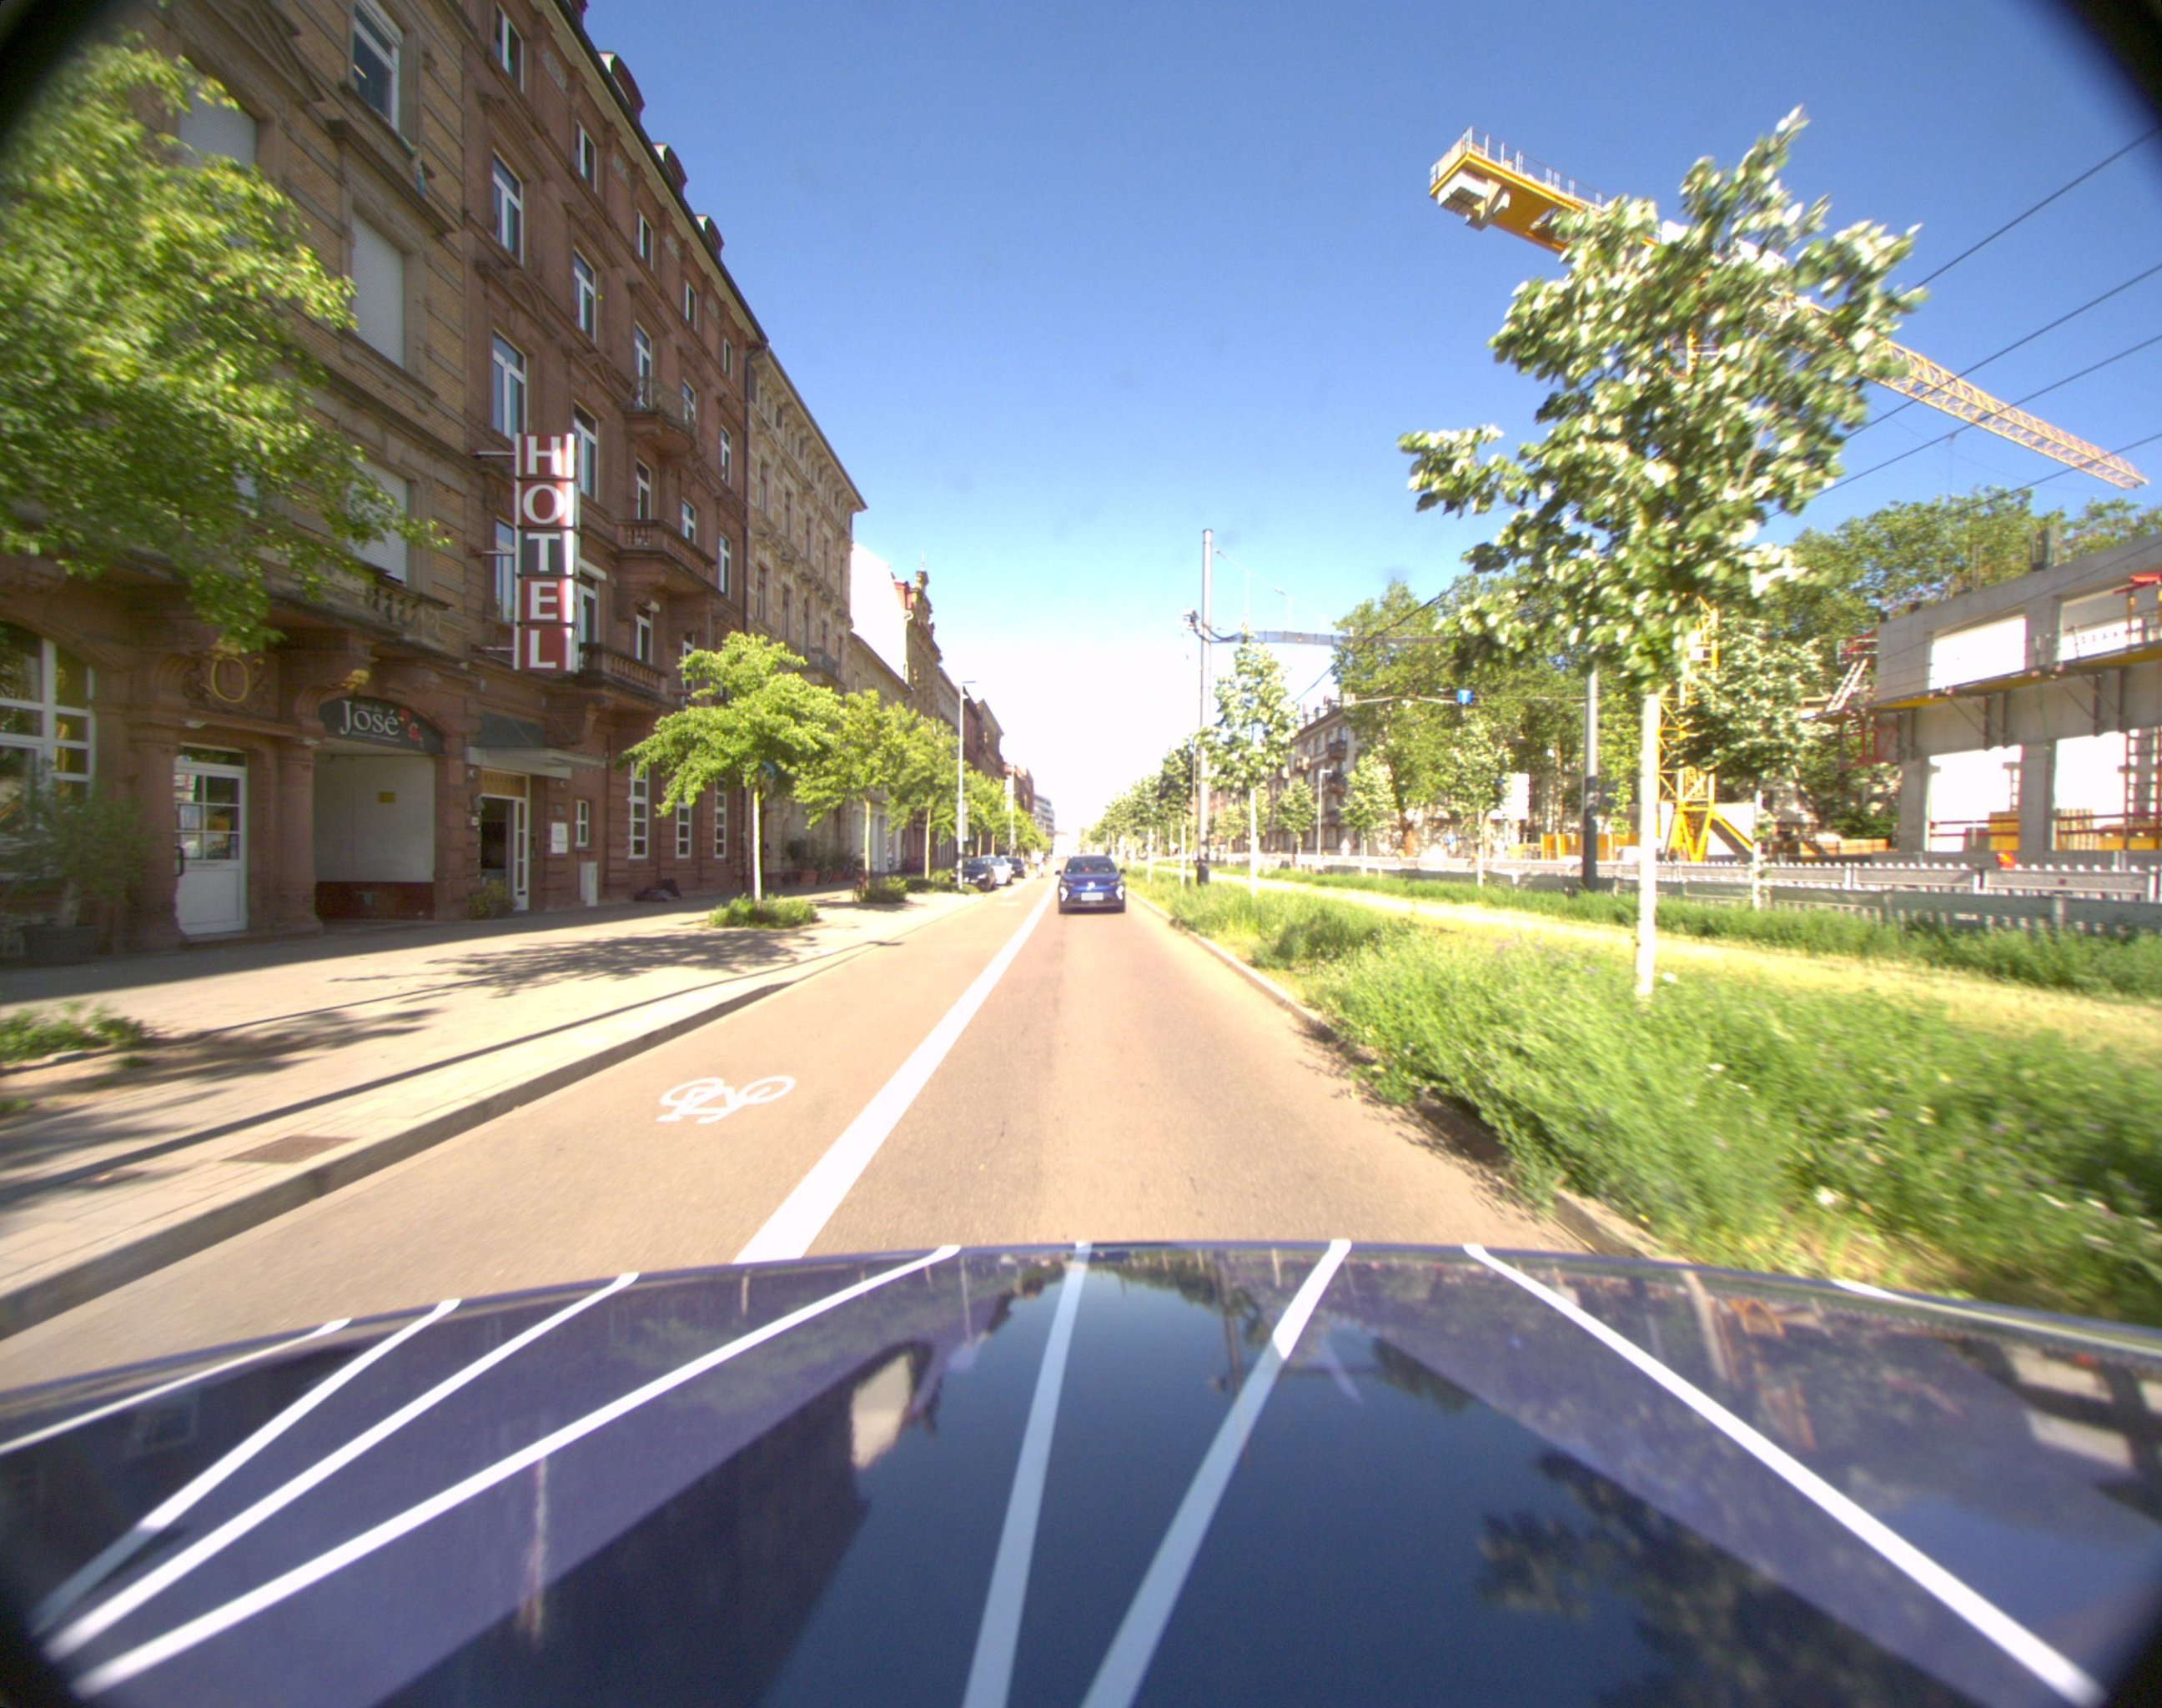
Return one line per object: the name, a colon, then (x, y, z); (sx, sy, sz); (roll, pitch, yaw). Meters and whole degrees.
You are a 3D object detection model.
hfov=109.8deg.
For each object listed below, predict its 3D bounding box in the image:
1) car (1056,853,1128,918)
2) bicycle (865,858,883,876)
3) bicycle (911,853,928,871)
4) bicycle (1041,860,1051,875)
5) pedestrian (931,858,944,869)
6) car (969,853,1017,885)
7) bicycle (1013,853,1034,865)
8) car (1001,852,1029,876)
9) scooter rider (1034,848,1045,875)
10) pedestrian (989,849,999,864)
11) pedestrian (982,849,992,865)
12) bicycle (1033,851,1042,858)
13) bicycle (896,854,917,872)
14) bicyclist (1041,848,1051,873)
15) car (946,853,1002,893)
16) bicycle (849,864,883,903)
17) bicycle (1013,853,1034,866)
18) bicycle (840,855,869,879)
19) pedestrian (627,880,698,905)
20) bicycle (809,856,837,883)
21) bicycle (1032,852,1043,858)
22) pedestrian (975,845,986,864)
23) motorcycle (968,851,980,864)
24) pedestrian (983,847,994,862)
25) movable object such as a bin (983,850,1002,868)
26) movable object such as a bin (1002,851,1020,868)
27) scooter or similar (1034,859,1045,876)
car: (0.254, 0.791, 21.622); (1.758, 1.576, 4.419); (-2, 0, -1)
bicycle: (-11.251, 0.727, 41.410); (0.448, 0.939, 2.013); (0, -1, -1)
bicycle: (-10.852, 0.528, 51.063); (0.750, 1.194, 1.800); (1, 1, -1)
bicycle: (-2.607, 0.999, 56.338); (0.725, 1.000, 1.951); (-1, 0, -3)
pedestrian: (-11.141, 0.703, 59.026); (0.873, 0.814, 0.979); (-1, 1, -14)
car: (-4.619, 0.769, 40.682); (1.956, 1.486, 5.104); (2, 1, 0)
bicycle: (-5.804, 0.548, 76.909); (2.050, 1.100, 0.610); (3, 1, -6)
car: (-4.601, 0.700, 53.389); (1.771, 1.468, 4.446); (2, 1, -3)
scooter rider: (-2.869, 0.486, 52.803); (0.663, 1.856, 0.897); (-1, 1, 0)
pedestrian: (-9.178, 0.275, 80.347); (0.953, 1.557, 1.080); (1, 0, -1)
pedestrian: (-9.855, 0.348, 79.758); (0.974, 1.629, 0.992); (1, 0, -1)
bicycle: (-8.038, 0.129, 140.099); (1.678, 1.056, 1.133); (4, 1, -3)
bicycle: (-11.003, 0.552, 47.997); (0.878, 1.098, 2.181); (3, 0, -3)
bicyclist: (-2.627, 0.461, 56.503); (0.725, 1.807, 1.090); (-1, 1, -3)
car: (-4.707, 0.798, 33.946); (1.889, 1.560, 4.219); (2, 1, -1)
bicycle: (-6.790, 0.908, 24.066); (0.652, 1.113, 2.170); (1, 1, -6)
bicycle: (-5.794, 0.558, 76.501); (1.981, 1.117, 0.481); (4, 0, -6)
bicycle: (-10.980, 0.607, 36.863); (0.723, 1.084, 2.198); (1, 1, 0)
pedestrian: (-10.988, 0.996, 20.044); (0.775, 0.550, 2.007); (1, 0, -1)
bicycle: (-11.014, 0.647, 32.519); (0.482, 1.084, 2.056); (1, 1, 0)
bicycle: (-7.968, 0.163, 138.955); (1.903, 1.024, 1.029); (2, 1, -4)
pedestrian: (-10.307, 0.054, 78.164); (0.892, 1.909, 1.098); (2, 1, 5)
motorcycle: (-10.769, 0.335, 76.513); (0.868, 1.259, 2.981); (-1, 1, -1)
pedestrian: (-10.418, 0.035, 85.454); (0.972, 1.682, 1.113); (2, 1, 1)
movable object such as a bin: (-7.669, 0.441, 66.061); (1.377, 1.487, 1.748); (3, 1, 0)
movable object such as a bin: (-6.069, 0.471, 66.249); (1.274, 1.454, 1.644); (-1, -1, 4)
scooter or similar: (-2.880, 0.925, 52.905); (0.647, 1.151, 1.150); (-1, 1, 0)
